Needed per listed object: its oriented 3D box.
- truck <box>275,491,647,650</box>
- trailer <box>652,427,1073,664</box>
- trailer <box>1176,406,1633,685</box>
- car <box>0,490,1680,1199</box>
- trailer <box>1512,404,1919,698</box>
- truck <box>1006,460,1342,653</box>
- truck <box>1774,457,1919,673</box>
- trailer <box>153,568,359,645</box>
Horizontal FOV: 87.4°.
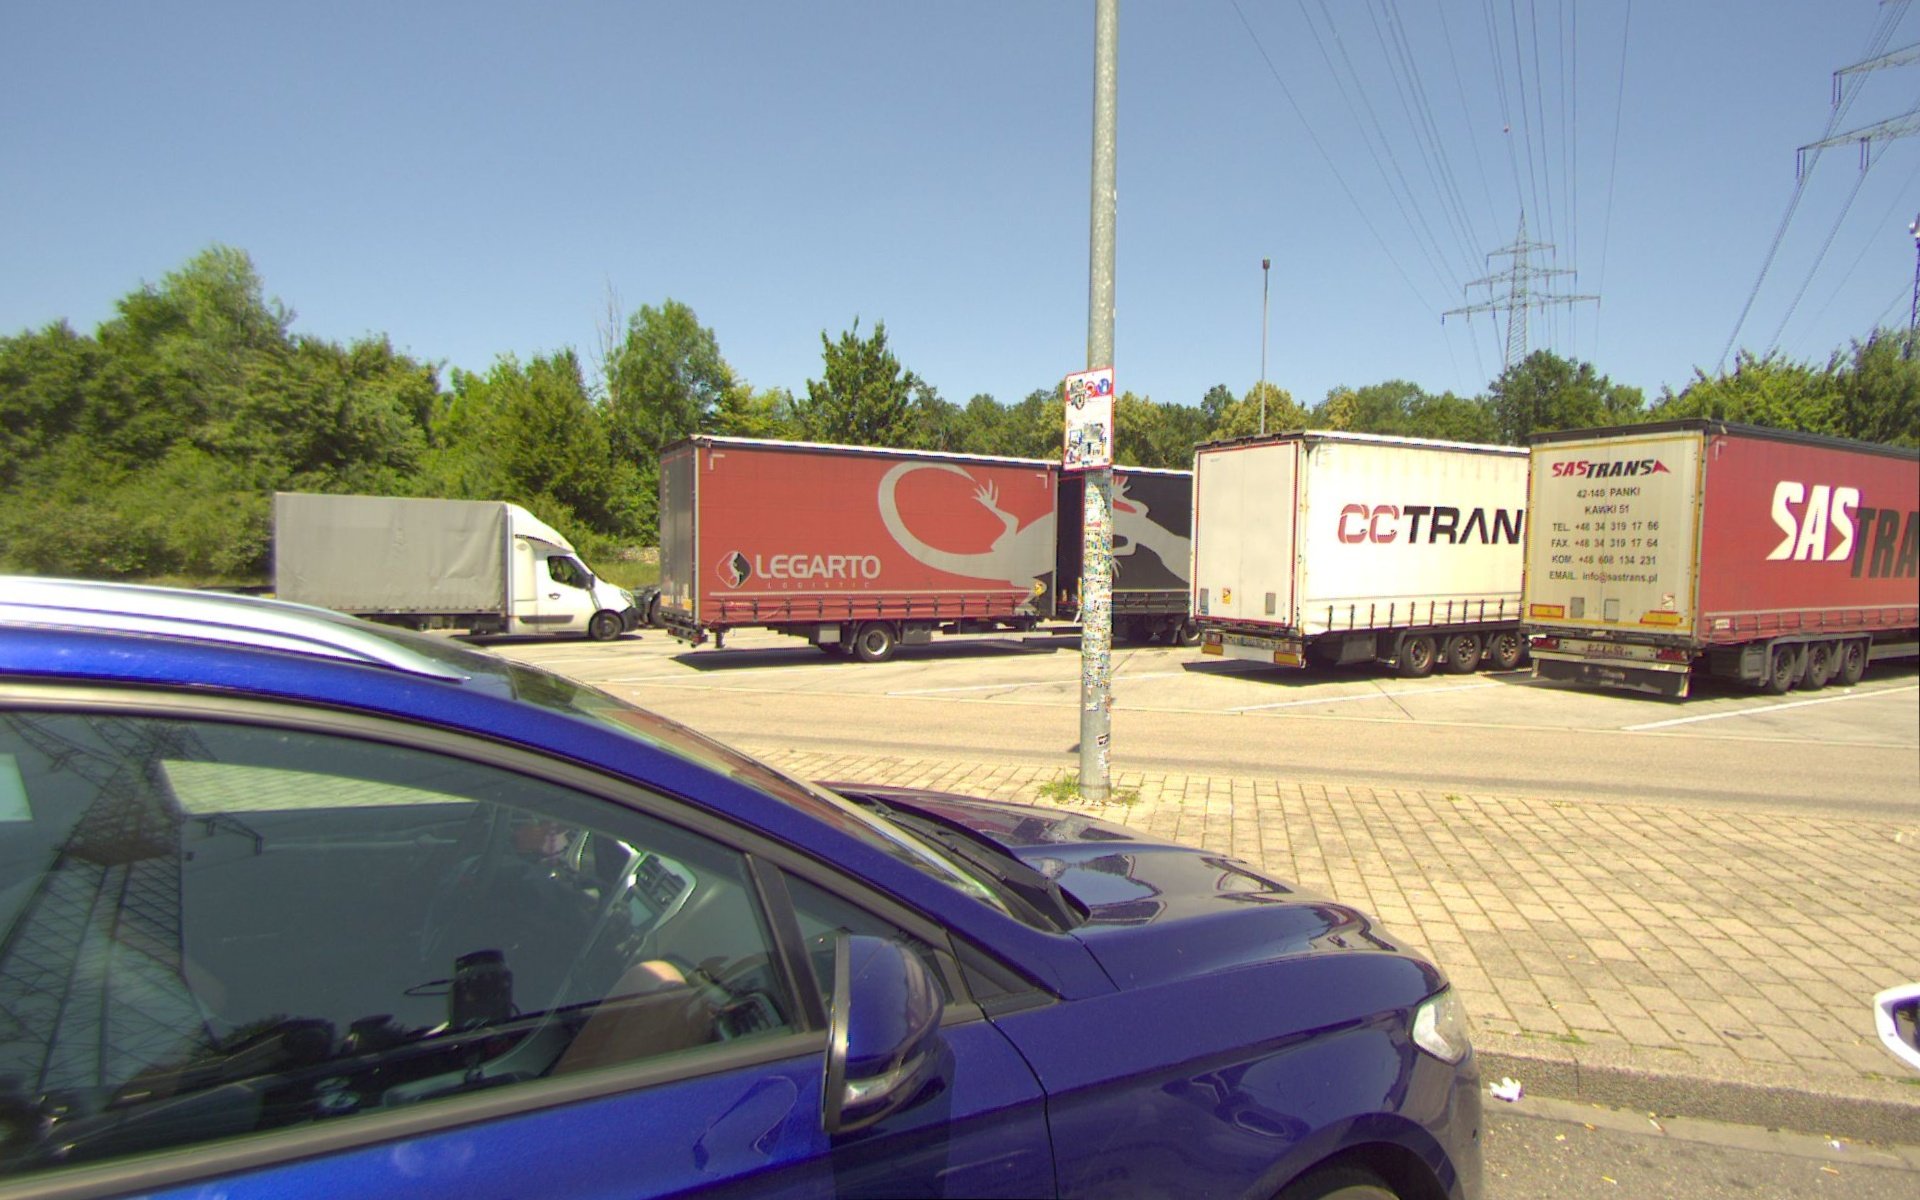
[{"bbox_3d":[-11.108,-0.607,22.915,7.265,3.170,2.352,0,1,-30],"label":"truck"},{"bbox_3d":[-1.784,-0.919,20.317,8.158,4.027,2.651,0,1,-31],"label":"trailer"},{"bbox_3d":[8.718,-0.831,19.115,9.614,4.321,2.733,0,1,-29],"label":"trailer"},{"bbox_3d":[-1.002,0.655,1.472,4.419,1.485,1.765,0,1,-32],"label":"car"},{"bbox_3d":[15.361,-0.672,18.548,13.129,4.112,2.736,0,1,-31],"label":"trailer"},{"bbox_3d":[5.407,-0.912,24.590,8.534,4.073,2.624,0,1,-30],"label":"truck"},{"bbox_3d":[20.825,-0.676,21.780,6.749,4.136,2.729,0,1,-31],"label":"truck"},{"bbox_3d":[-16.499,0.145,23.783,3.856,1.684,1.464,0,1,-30],"label":"trailer"}]
